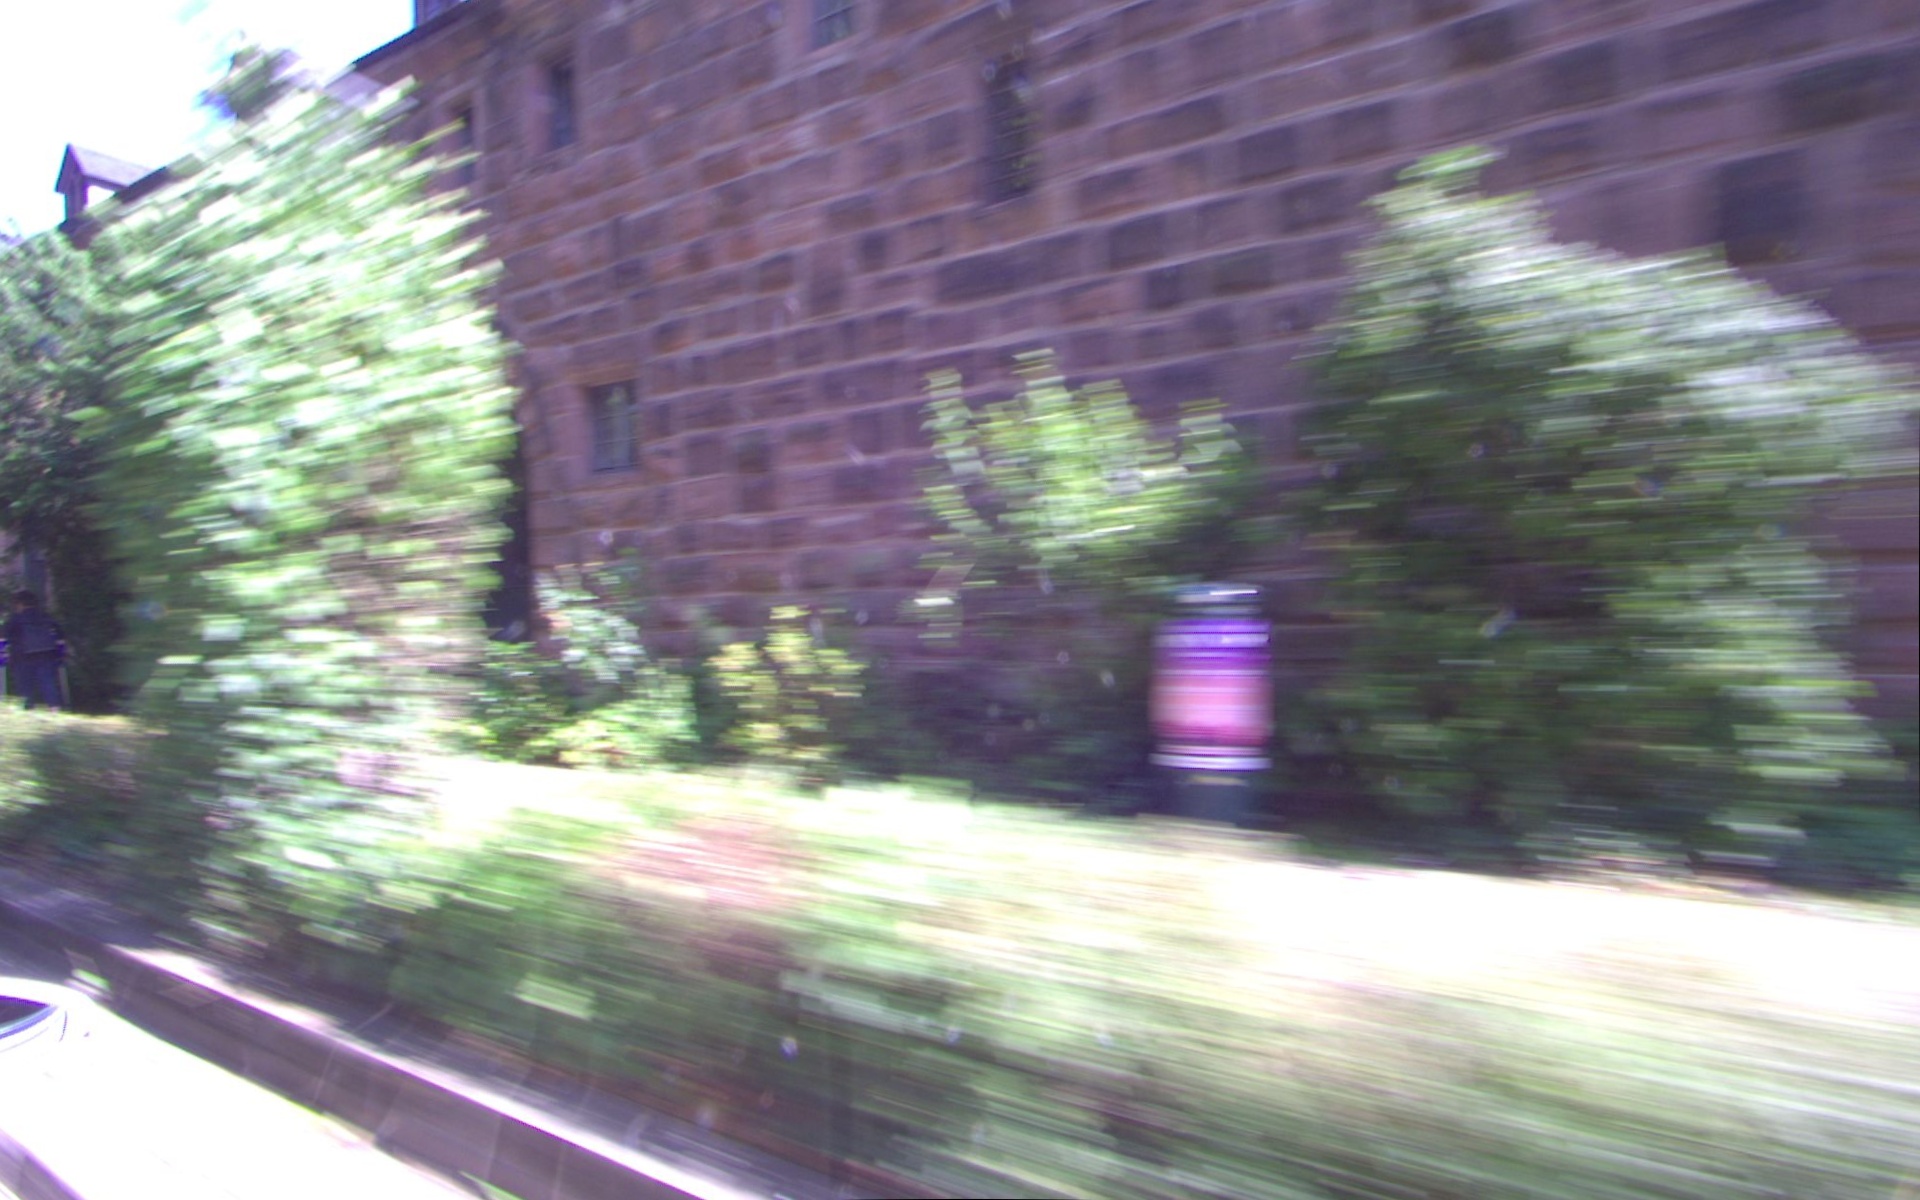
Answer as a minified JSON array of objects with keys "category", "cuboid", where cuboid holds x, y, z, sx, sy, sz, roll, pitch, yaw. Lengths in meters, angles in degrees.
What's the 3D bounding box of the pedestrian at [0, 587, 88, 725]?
[{"category":"pedestrian","cuboid":[-11.569,0.681,12.607,0.695,1.675,0.696,0,2,35]}]
